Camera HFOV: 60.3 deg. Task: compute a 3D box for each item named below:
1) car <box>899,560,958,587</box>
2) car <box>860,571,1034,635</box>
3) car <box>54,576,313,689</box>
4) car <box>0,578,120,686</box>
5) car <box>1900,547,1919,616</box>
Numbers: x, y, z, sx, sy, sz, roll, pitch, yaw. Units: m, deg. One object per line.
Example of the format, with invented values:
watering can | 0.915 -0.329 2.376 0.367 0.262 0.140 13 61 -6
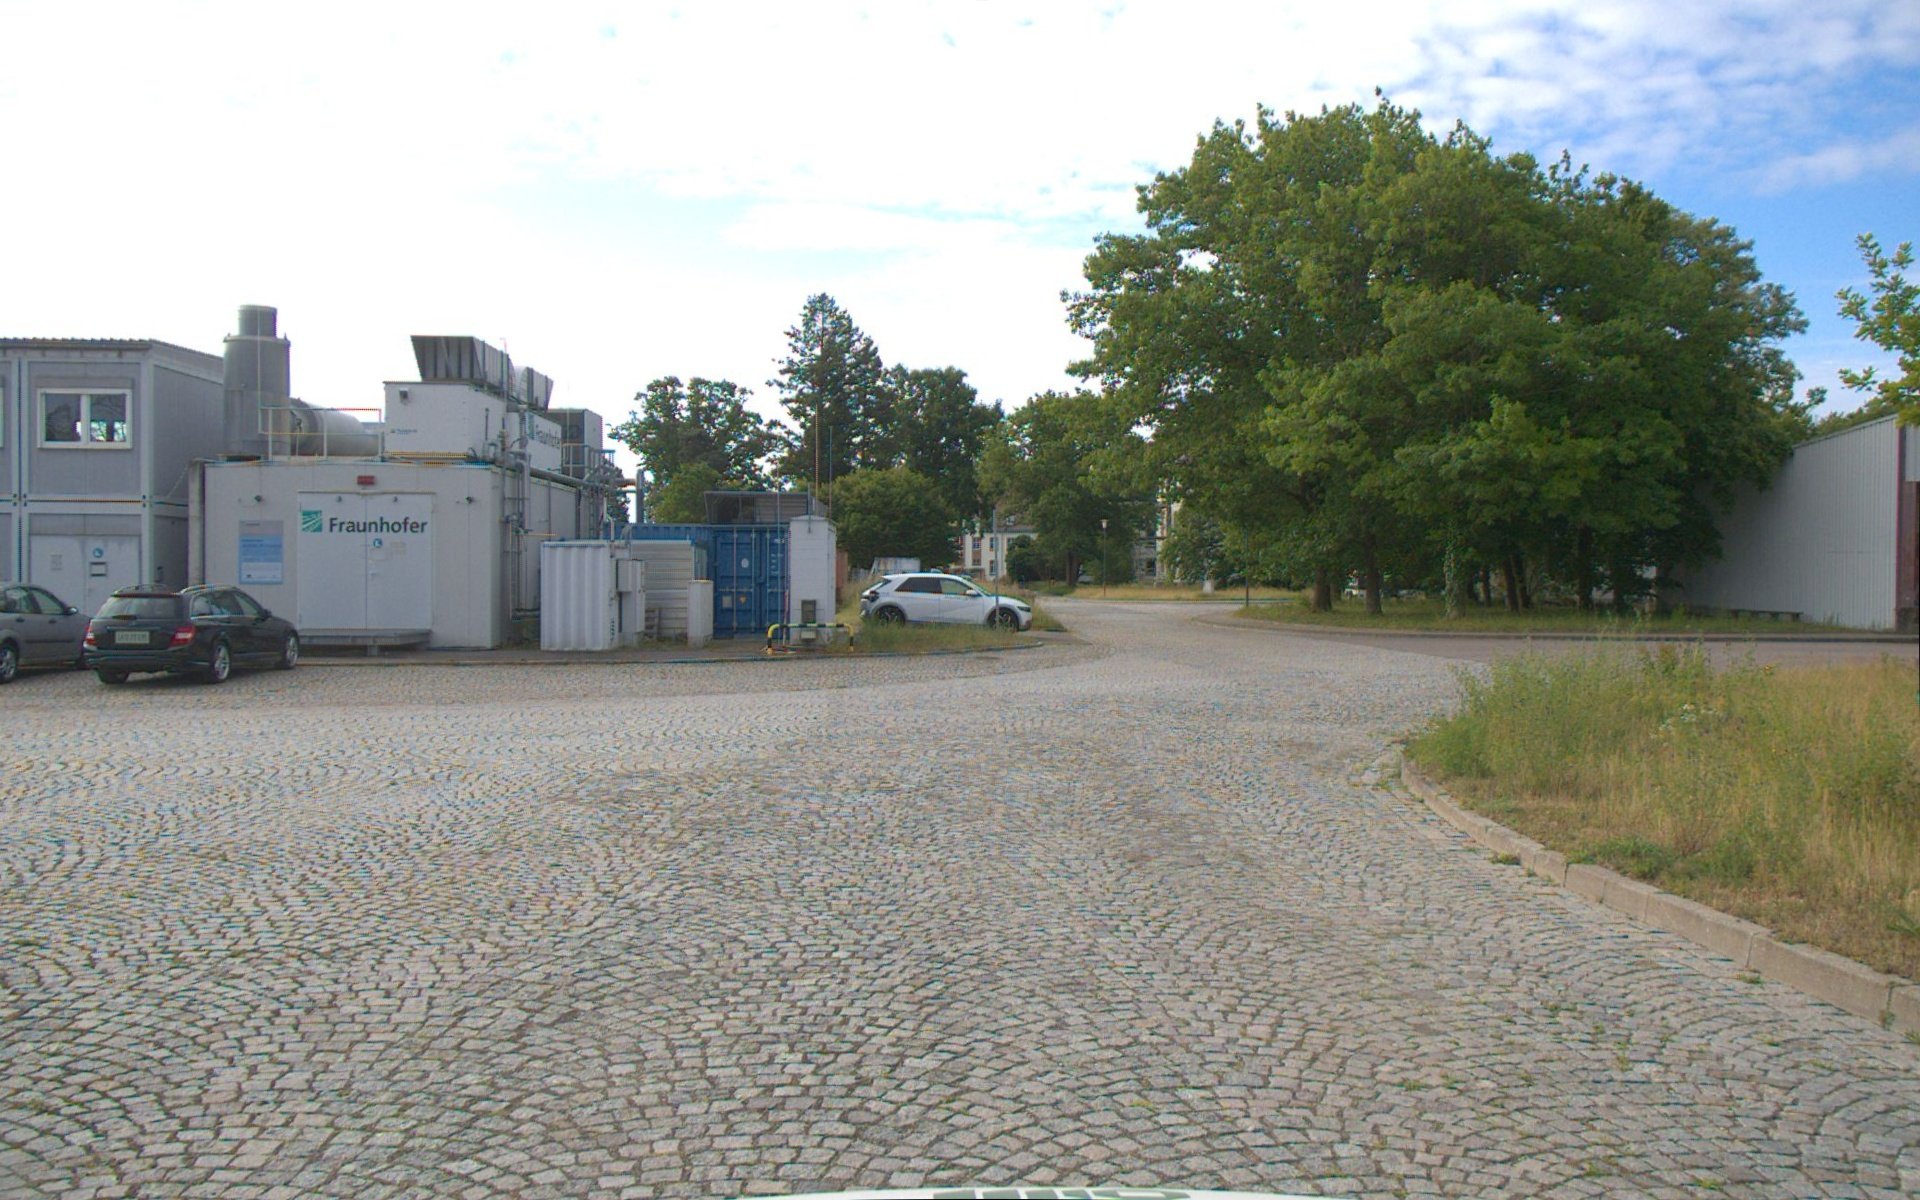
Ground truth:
car | -2.777 -2.305 144.907 5.066 2.378 1.999 0 1 -2
car | -0.309 0.056 43.385 4.440 1.627 2.000 0 1 1
car | -12.014 0.434 25.979 1.995 1.478 4.529 0 2 -2
car | -15.127 0.449 26.062 1.868 1.501 4.045 0 2 -3
car | 29.462 -0.533 47.075 2.196 2.049 5.334 0 1 -3
